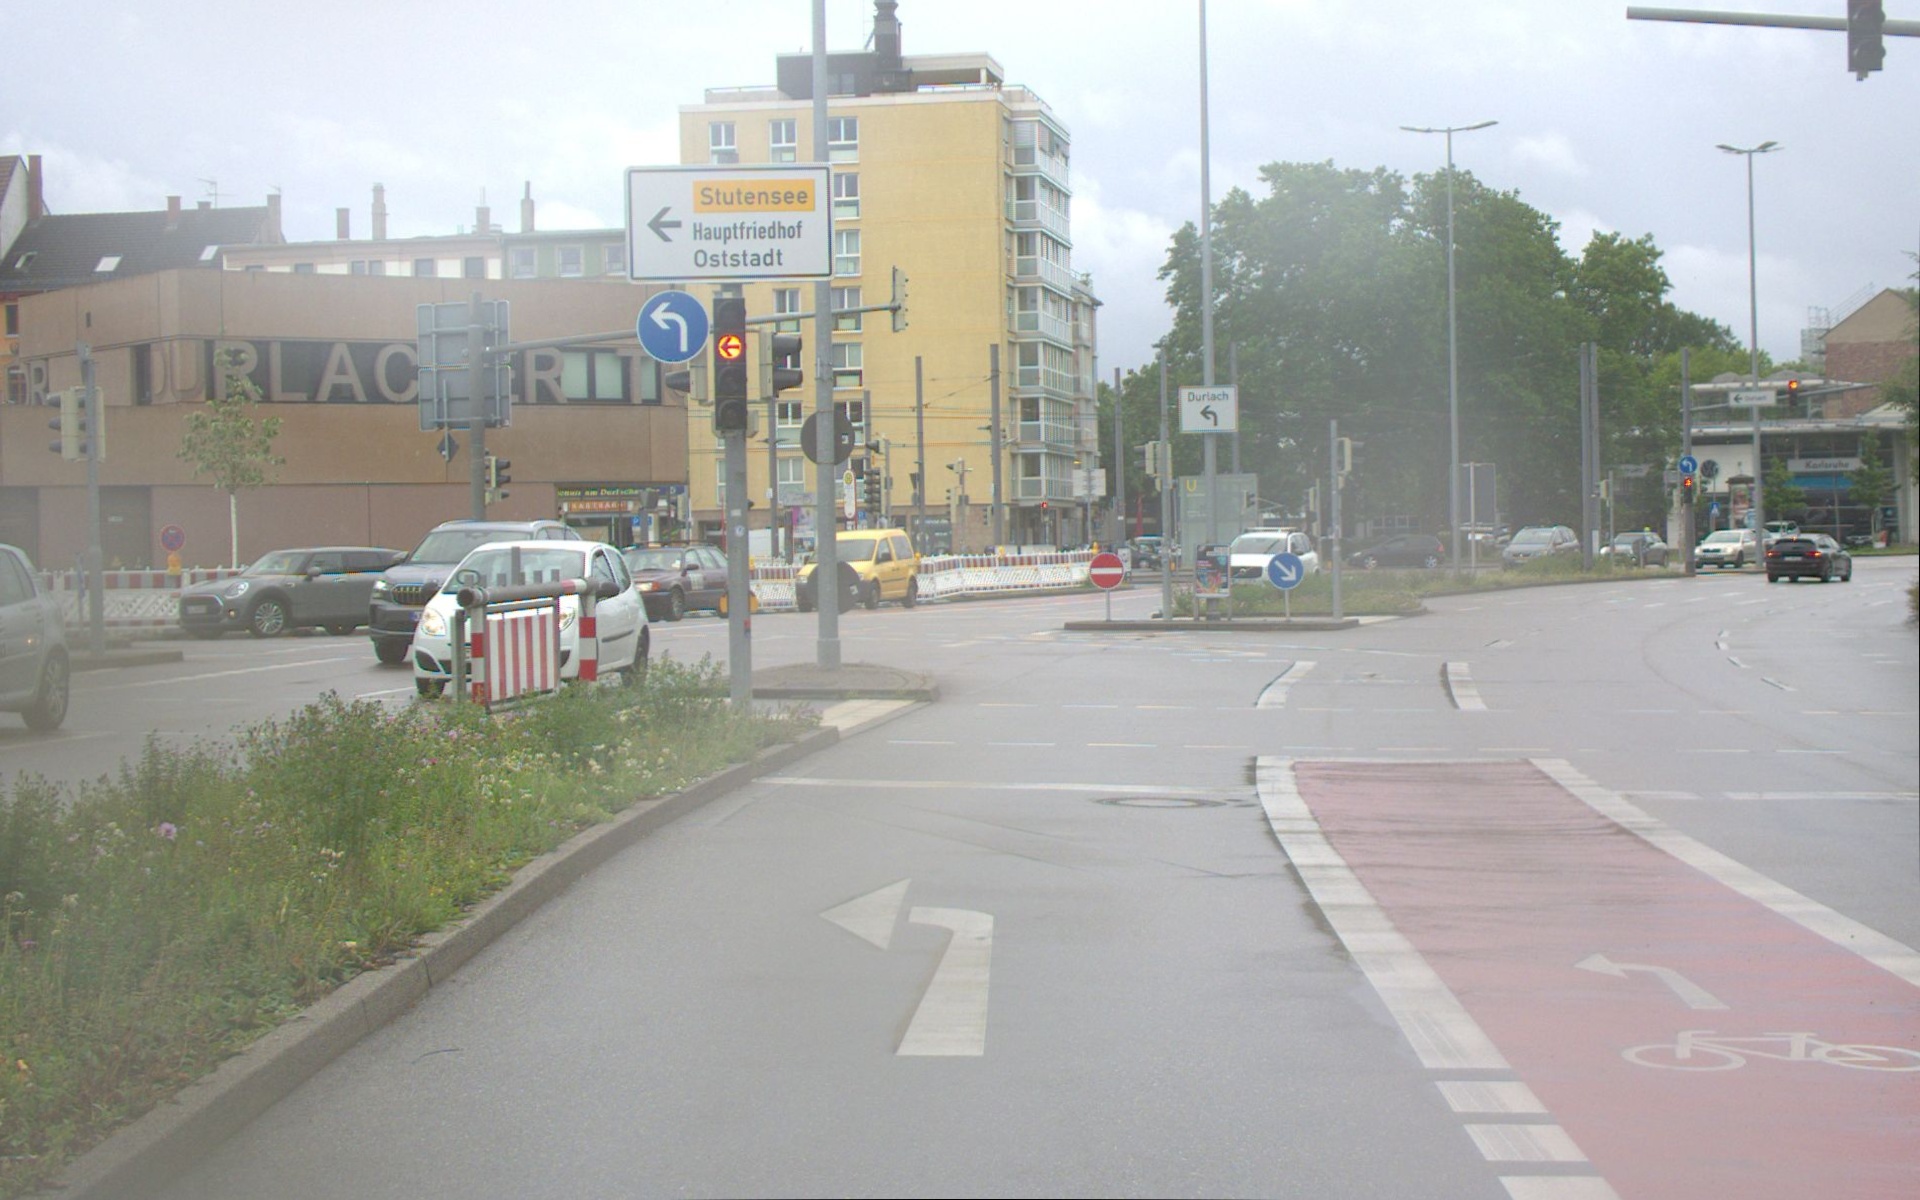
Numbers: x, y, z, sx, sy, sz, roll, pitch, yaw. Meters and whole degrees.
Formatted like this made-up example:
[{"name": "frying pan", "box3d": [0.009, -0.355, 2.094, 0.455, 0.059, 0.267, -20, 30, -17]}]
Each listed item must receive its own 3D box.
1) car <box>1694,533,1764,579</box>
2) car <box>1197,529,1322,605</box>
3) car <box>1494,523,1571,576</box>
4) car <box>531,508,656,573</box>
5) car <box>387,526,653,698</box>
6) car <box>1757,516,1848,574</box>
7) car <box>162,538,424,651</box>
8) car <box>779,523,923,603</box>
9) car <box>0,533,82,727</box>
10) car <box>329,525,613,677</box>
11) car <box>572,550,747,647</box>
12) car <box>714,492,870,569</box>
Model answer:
[{"name": "car", "box3d": [29.264, -1.673, 130.770, 1.696, 1.410, 4.179, -1, 4, 25]}, {"name": "car", "box3d": [7.357, -0.825, 83.957, 1.828, 1.676, 5.161, -2, 1, 18]}, {"name": "car", "box3d": [20.713, -1.833, 124.198, 1.696, 1.684, 4.179, -1, 3, 24]}, {"name": "car", "box3d": [-16.997, -2.774, 159.567, 5.352, 2.877, 2.338, -1, 1, 7]}, {"name": "car", "box3d": [-4.161, 0.069, 33.080, 1.679, 1.496, 3.868, -2, 1, 6]}, {"name": "car", "box3d": [24.850, -1.635, 101.307, 1.792, 1.637, 4.154, 0, 1, 25]}, {"name": "car", "box3d": [-10.646, -0.116, 55.056, 1.710, 1.700, 3.810, 0, 2, 43]}, {"name": "car", "box3d": [-2.395, -0.838, 76.311, 1.707, 1.700, 4.148, 0, 1, 21]}, {"name": "car", "box3d": [-7.818, 0.246, 24.936, 1.679, 1.399, 4.158, -2, 1, 2]}, {"name": "car", "box3d": [-5.812, -0.031, 41.483, 1.994, 1.630, 4.601, -3, 1, 10]}, {"name": "car", "box3d": [-5.582, -0.062, 64.468, 1.707, 1.700, 4.457, 0, 1, 17]}, {"name": "car", "box3d": [-7.689, -3.206, 158.254, 6.743, 3.368, 2.809, -1, 1, 7]}]
